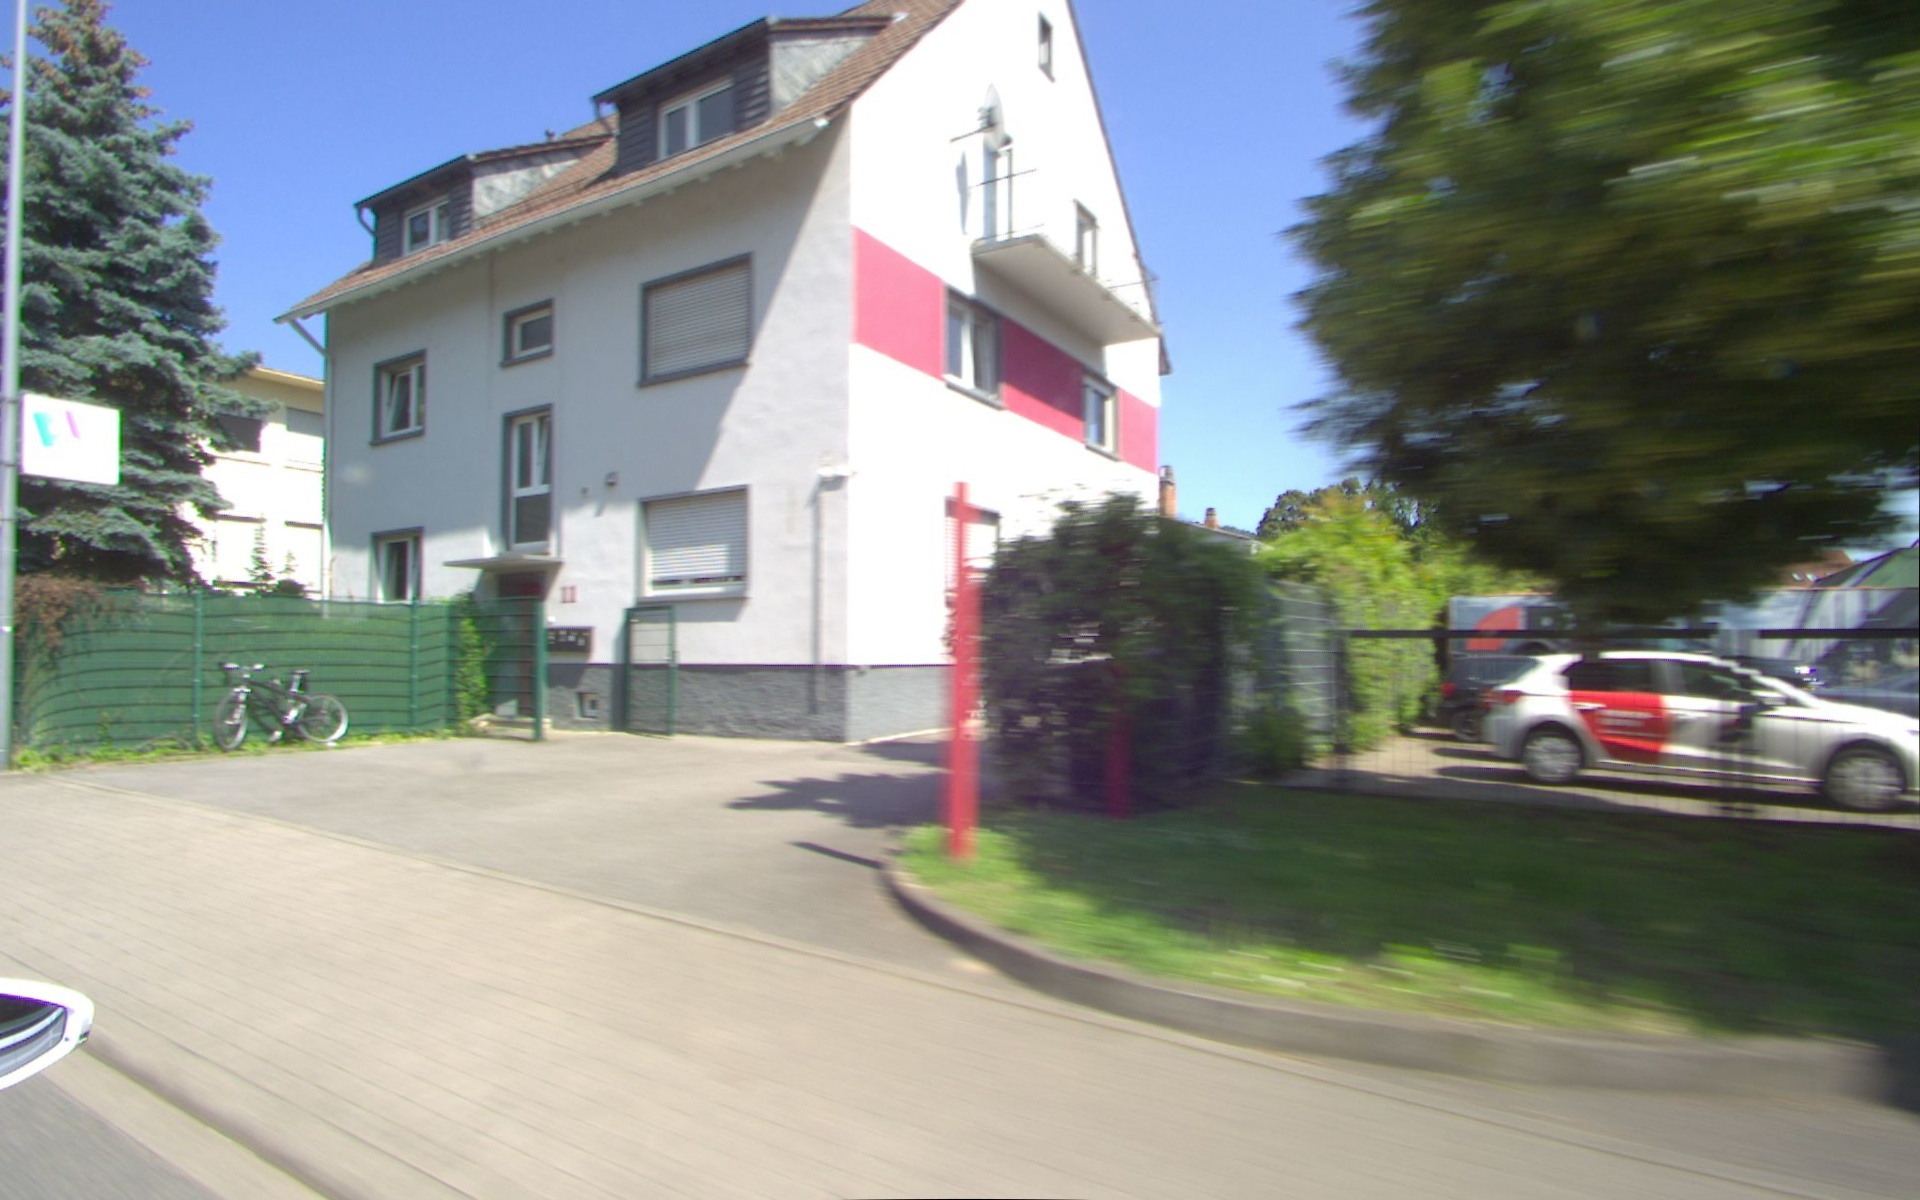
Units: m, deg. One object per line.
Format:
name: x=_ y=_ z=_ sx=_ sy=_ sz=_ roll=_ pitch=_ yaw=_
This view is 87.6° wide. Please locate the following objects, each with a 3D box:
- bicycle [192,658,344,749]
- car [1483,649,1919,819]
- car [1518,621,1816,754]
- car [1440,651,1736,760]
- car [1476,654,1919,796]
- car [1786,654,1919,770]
bicycle: x=-8.230 y=1.209 z=11.969 sx=0.382 sy=1.002 sz=1.469 roll=-4 pitch=-4 yaw=31
car: x=7.801 y=1.286 z=10.552 sx=3.944 sy=1.478 sz=1.740 roll=-1 pitch=-3 yaw=33
car: x=11.994 y=1.405 z=17.297 sx=3.990 sy=1.947 sz=1.713 roll=1 pitch=-1 yaw=33
car: x=9.741 y=1.566 z=15.763 sx=3.747 sy=1.372 sz=1.713 roll=1 pitch=-1 yaw=33
car: x=9.332 y=1.470 z=12.807 sx=4.701 sy=1.396 sz=1.884 roll=0 pitch=-2 yaw=33
car: x=13.690 y=1.468 z=13.138 sx=4.175 sy=1.478 sz=1.740 roll=-2 pitch=-3 yaw=33
